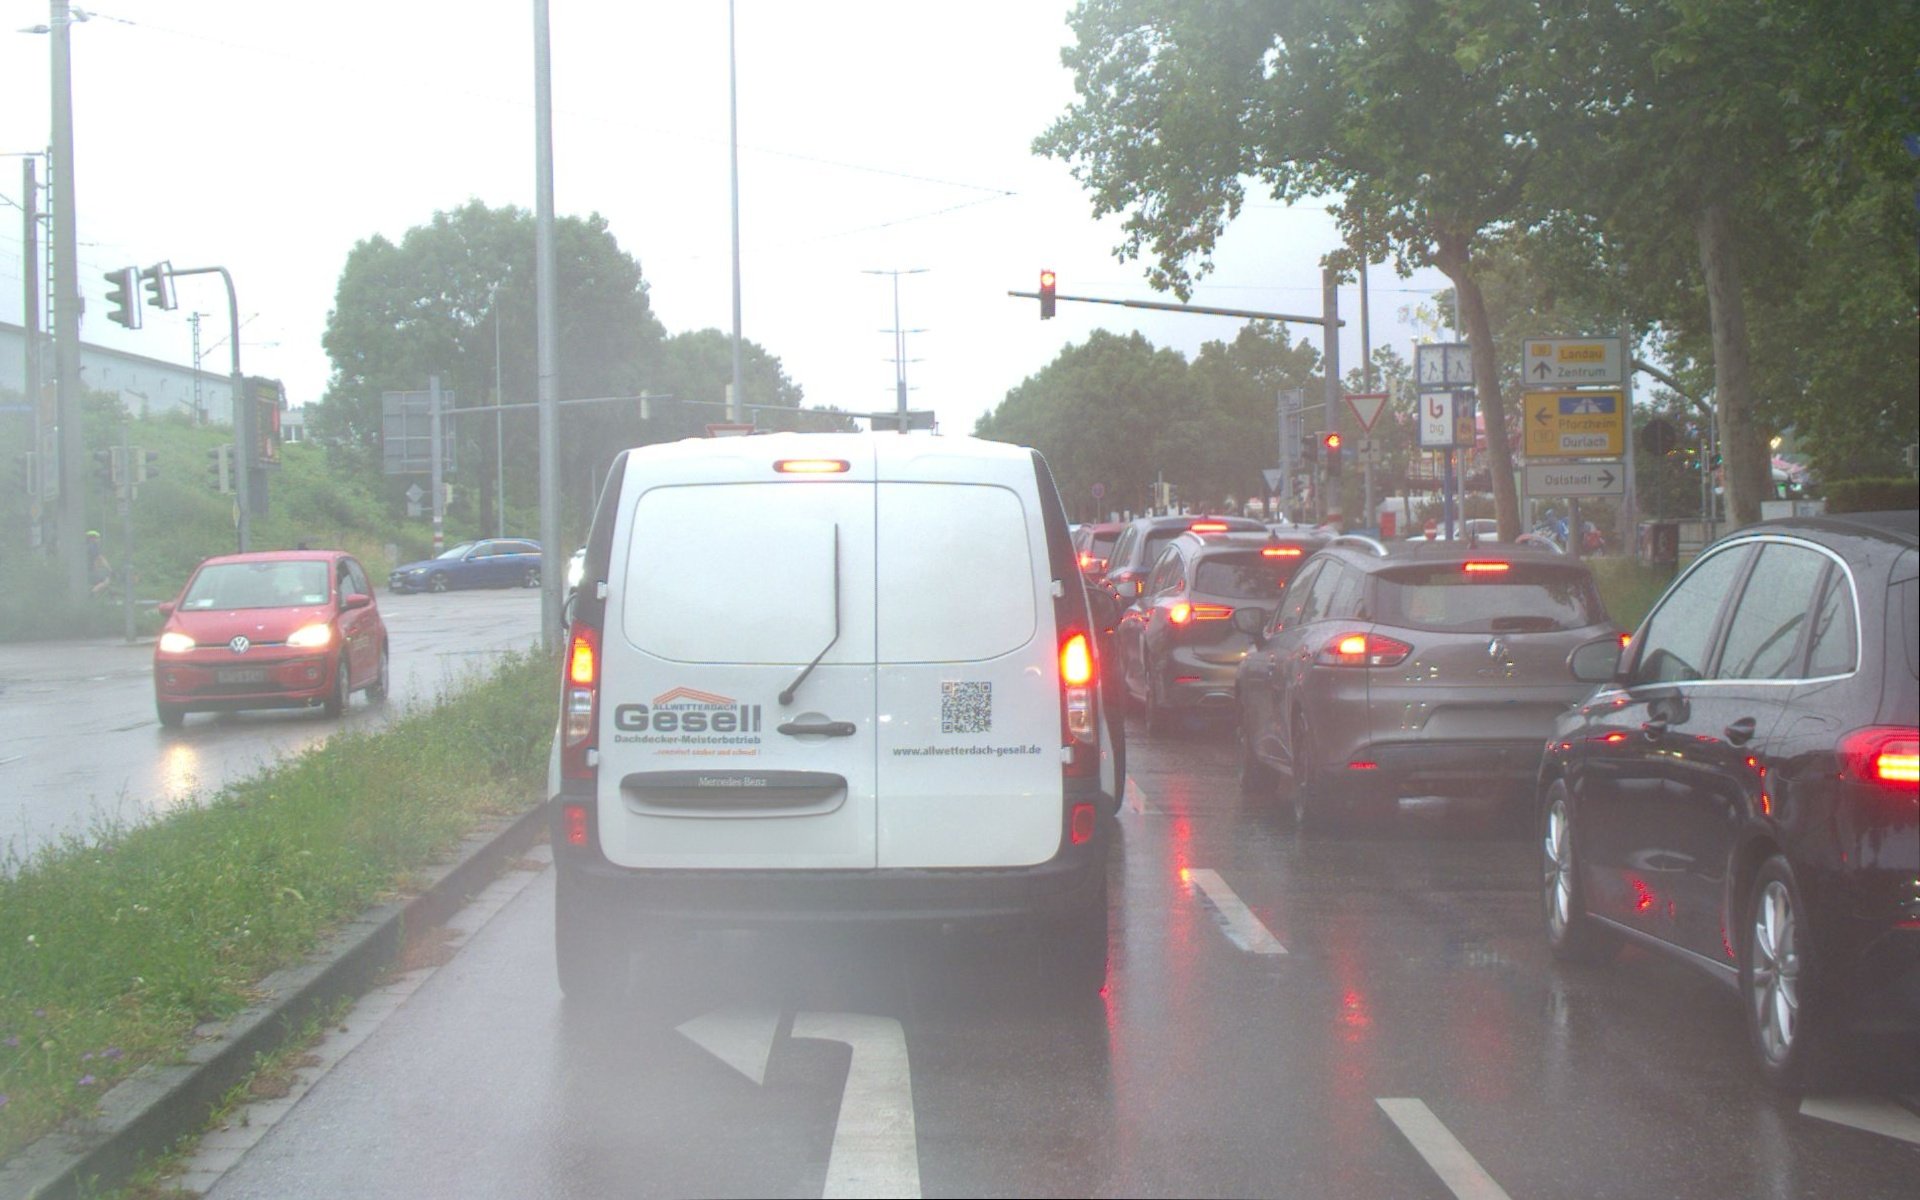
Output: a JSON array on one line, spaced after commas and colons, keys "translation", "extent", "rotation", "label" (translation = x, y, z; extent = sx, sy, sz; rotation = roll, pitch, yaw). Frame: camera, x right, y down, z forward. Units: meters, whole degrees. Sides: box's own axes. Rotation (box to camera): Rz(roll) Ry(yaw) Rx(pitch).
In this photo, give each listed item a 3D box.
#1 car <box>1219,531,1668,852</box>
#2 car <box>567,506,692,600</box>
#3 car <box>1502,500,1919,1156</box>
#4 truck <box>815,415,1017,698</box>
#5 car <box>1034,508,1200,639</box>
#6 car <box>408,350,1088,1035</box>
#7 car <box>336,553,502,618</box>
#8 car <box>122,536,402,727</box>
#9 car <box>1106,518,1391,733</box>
[{"translation": [2.389, 0.382, 17.915], "extent": [1.711, 1.440, 4.001], "rotation": [0, 2, -1], "label": "car"}, {"translation": [-5.939, -0.880, 62.212], "extent": [1.962, 1.520, 4.335], "rotation": [-2, 2, -2], "label": "car"}, {"translation": [2.871, 0.490, 10.285], "extent": [1.708, 1.544, 4.001], "rotation": [0, 2, -2], "label": "car"}, {"translation": [-0.468, -0.412, 31.864], "extent": [1.756, 2.458, 4.001], "rotation": [0, 1, -2], "label": "truck"}, {"translation": [1.803, -0.350, 40.587], "extent": [1.711, 1.440, 4.001], "rotation": [0, 2, -1], "label": "car"}, {"translation": [-0.702, 0.258, 12.098], "extent": [1.993, 2.007, 4.000], "rotation": [0, 0, -2], "label": "car"}, {"translation": [-14.322, -0.406, 91.005], "extent": [3.934, 1.520, 1.775], "rotation": [-3, 2, -26], "label": "car"}, {"translation": [-6.186, 0.233, 30.837], "extent": [1.716, 1.508, 3.614], "rotation": [-3, 2, 0], "label": "car"}, {"translation": [2.056, 0.124, 25.497], "extent": [1.711, 1.440, 4.001], "rotation": [0, 2, -1], "label": "car"}]
